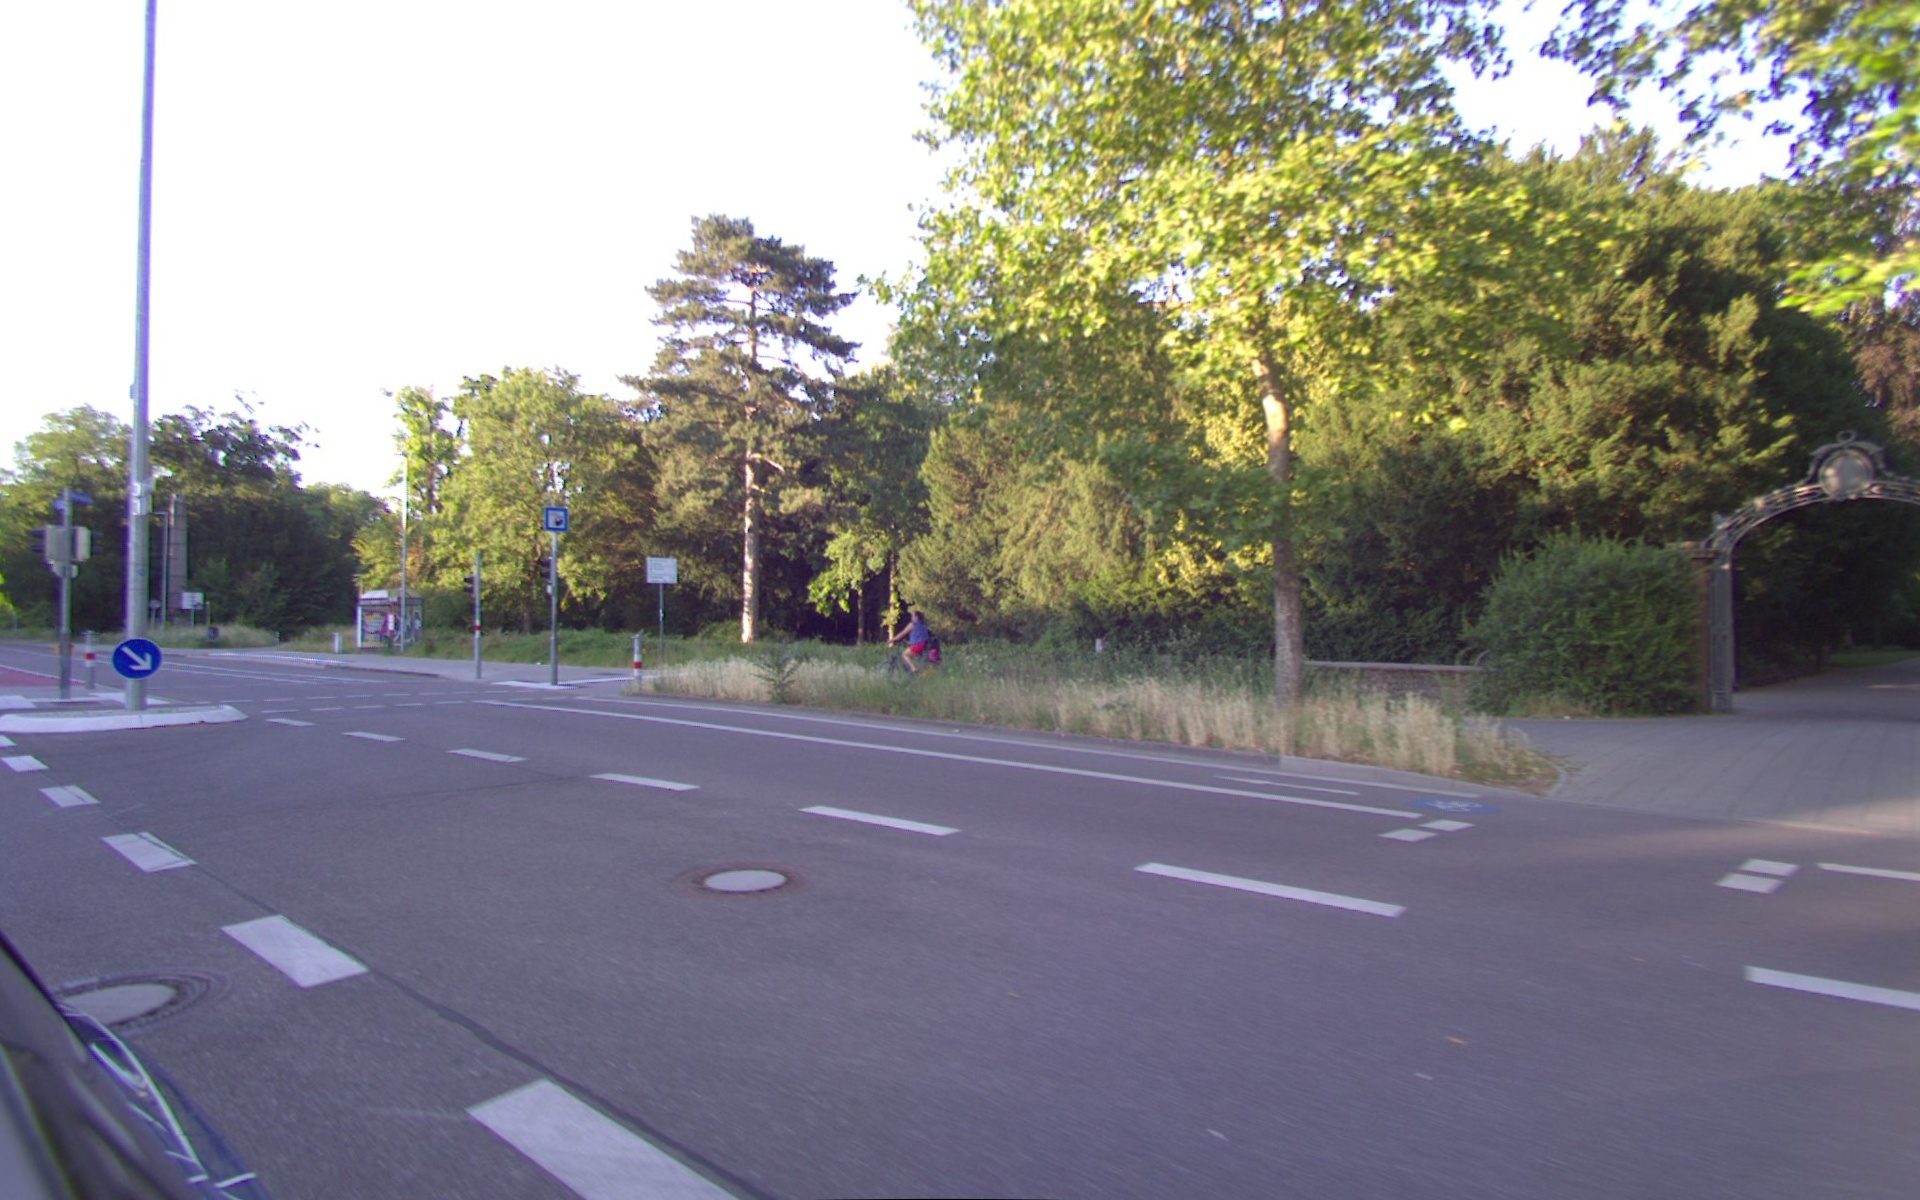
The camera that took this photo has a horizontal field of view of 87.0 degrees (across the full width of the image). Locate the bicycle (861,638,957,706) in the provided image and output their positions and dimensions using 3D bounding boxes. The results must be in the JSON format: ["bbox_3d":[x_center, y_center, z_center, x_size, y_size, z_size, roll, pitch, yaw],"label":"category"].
[{"bbox_3d":[-1.042,1.420,20.422,1.979,1.266,0.780,-1,-2,42],"label":"bicycle"}]

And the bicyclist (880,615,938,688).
[{"bbox_3d":[-1.028,1.020,20.415,0.892,1.438,0.781,-1,-2,42],"label":"bicyclist"}]
